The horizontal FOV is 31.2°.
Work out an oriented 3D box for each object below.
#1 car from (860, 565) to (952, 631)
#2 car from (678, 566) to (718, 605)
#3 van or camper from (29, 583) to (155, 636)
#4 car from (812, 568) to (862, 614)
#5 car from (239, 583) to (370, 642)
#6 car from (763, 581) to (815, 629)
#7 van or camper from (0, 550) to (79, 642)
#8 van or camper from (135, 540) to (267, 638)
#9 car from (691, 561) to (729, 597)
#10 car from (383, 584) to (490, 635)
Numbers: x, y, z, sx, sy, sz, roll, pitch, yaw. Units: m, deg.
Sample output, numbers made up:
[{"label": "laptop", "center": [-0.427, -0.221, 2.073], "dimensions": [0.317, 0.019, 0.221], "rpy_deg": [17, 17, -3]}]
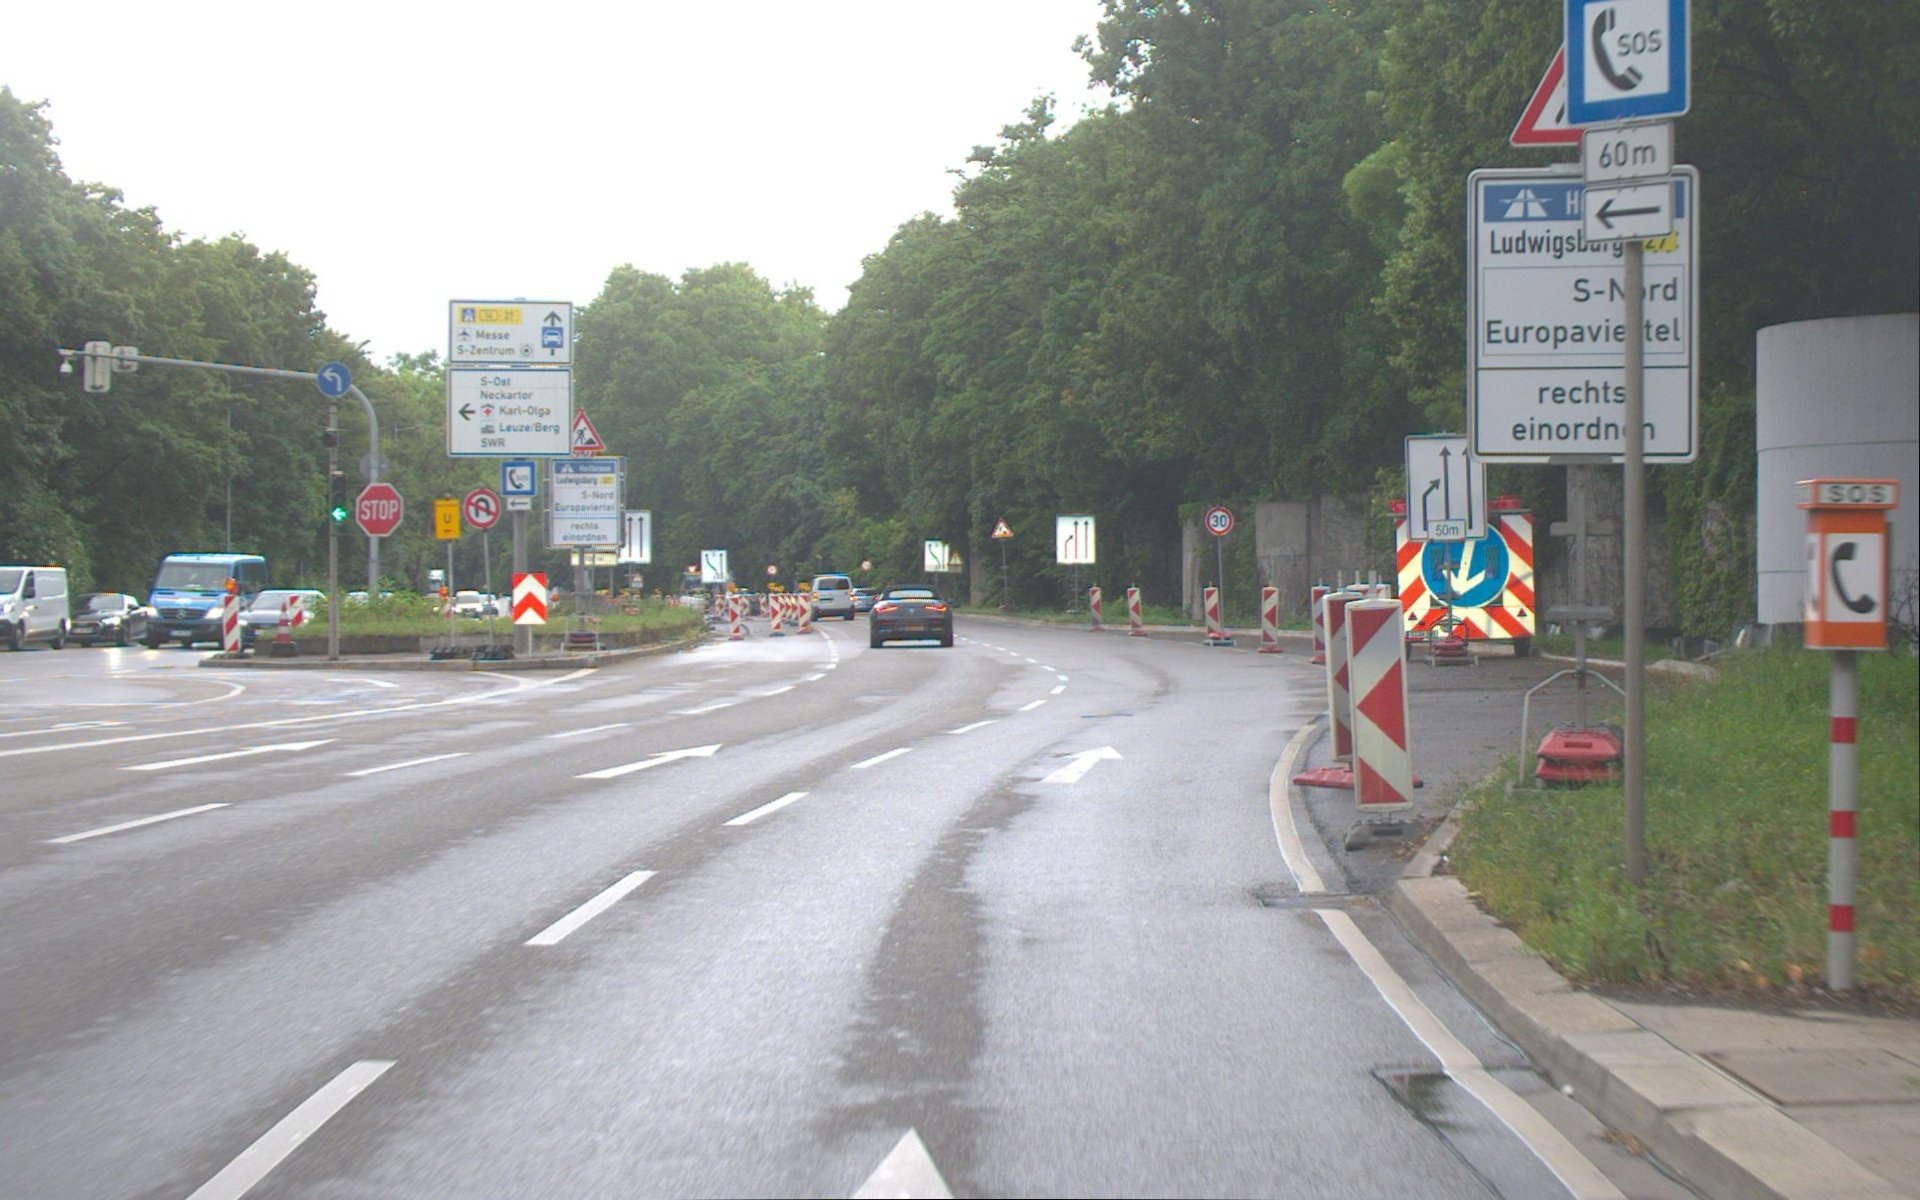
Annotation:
[{"label": "car", "center": [-1.185, -0.059, 77.767], "dimensions": [1.993, 1.443, 4.314], "rpy_deg": [0, 0, 0]}, {"label": "car", "center": [-13.720, -0.761, 179.761], "dimensions": [1.993, 2.007, 4.001], "rpy_deg": [1, 0, -6]}, {"label": "van or camper", "center": [-21.884, 0.224, 86.808], "dimensions": [2.009, 1.297, 4.091], "rpy_deg": [0, 0, 2]}, {"label": "car", "center": [-5.492, -0.404, 152.985], "dimensions": [1.993, 2.007, 4.001], "rpy_deg": [1, 0, -6]}, {"label": "car", "center": [-14.829, 0.276, 77.996], "dimensions": [2.009, 1.297, 4.315], "rpy_deg": [0, 0, 2]}, {"label": "car", "center": [-7.304, 0.202, 146.585], "dimensions": [1.993, 2.007, 4.001], "rpy_deg": [1, 0, -6]}, {"label": "van or camper", "center": [-21.892, -0.100, 78.309], "dimensions": [2.128, 2.007, 5.314], "rpy_deg": [0, 0, 2]}, {"label": "van or camper", "center": [-18.600, -0.279, 84.422], "dimensions": [2.128, 2.340, 4.426], "rpy_deg": [0, 0, 2]}, {"label": "car", "center": [-14.121, -1.187, 194.153], "dimensions": [1.993, 2.007, 4.001], "rpy_deg": [1, 0, -6]}, {"label": "car", "center": [-13.673, 0.236, 89.968], "dimensions": [2.009, 1.297, 4.315], "rpy_deg": [0, 0, 2]}]
